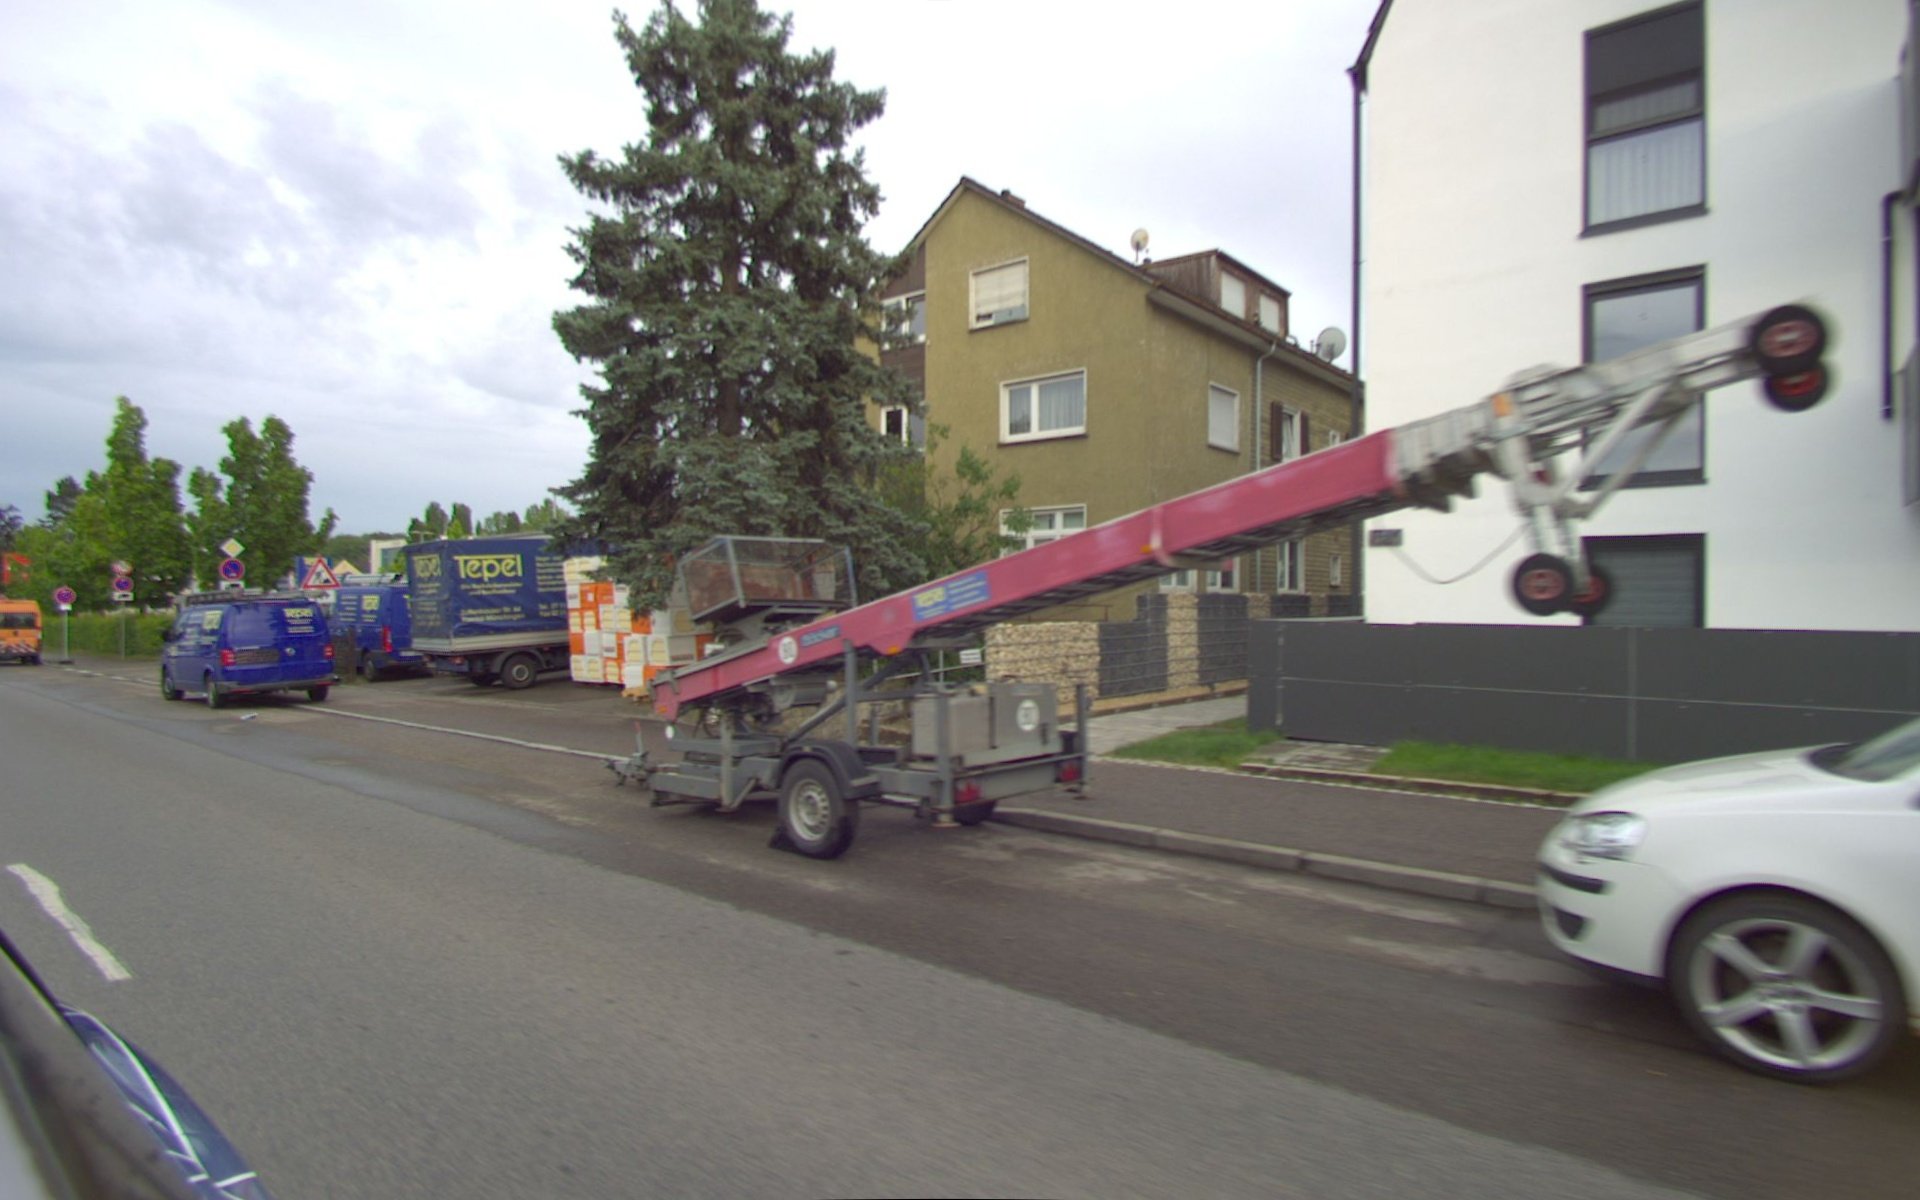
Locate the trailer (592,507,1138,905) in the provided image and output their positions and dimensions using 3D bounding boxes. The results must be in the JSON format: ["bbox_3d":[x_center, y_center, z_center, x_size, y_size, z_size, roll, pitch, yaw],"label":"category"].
[{"bbox_3d":[-0.881,0.581,7.419,4.005,2.142,1.699,-1,0,41],"label":"trailer"}]

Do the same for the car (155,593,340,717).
[{"bbox_3d":[-14.028,1.004,19.808,4.753,2.140,1.972,-2,-2,42],"label":"car"}]

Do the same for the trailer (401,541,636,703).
[{"bbox_3d":[-9.222,0.404,21.347,2.167,3.069,4.007,-1,0,41],"label":"trailer"}]

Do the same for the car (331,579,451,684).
[{"bbox_3d":[-14.204,0.779,25.182,3.594,2.425,1.549,-2,-2,42],"label":"car"}]

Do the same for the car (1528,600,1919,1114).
[{"bbox_3d":[4.079,0.747,3.030,3.869,1.516,1.717,-2,-2,41],"label":"car"}]

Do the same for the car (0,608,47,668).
[{"bbox_3d":[-38.108,1.501,40.085,4.528,2.306,2.235,-2,-4,41],"label":"car"}]
